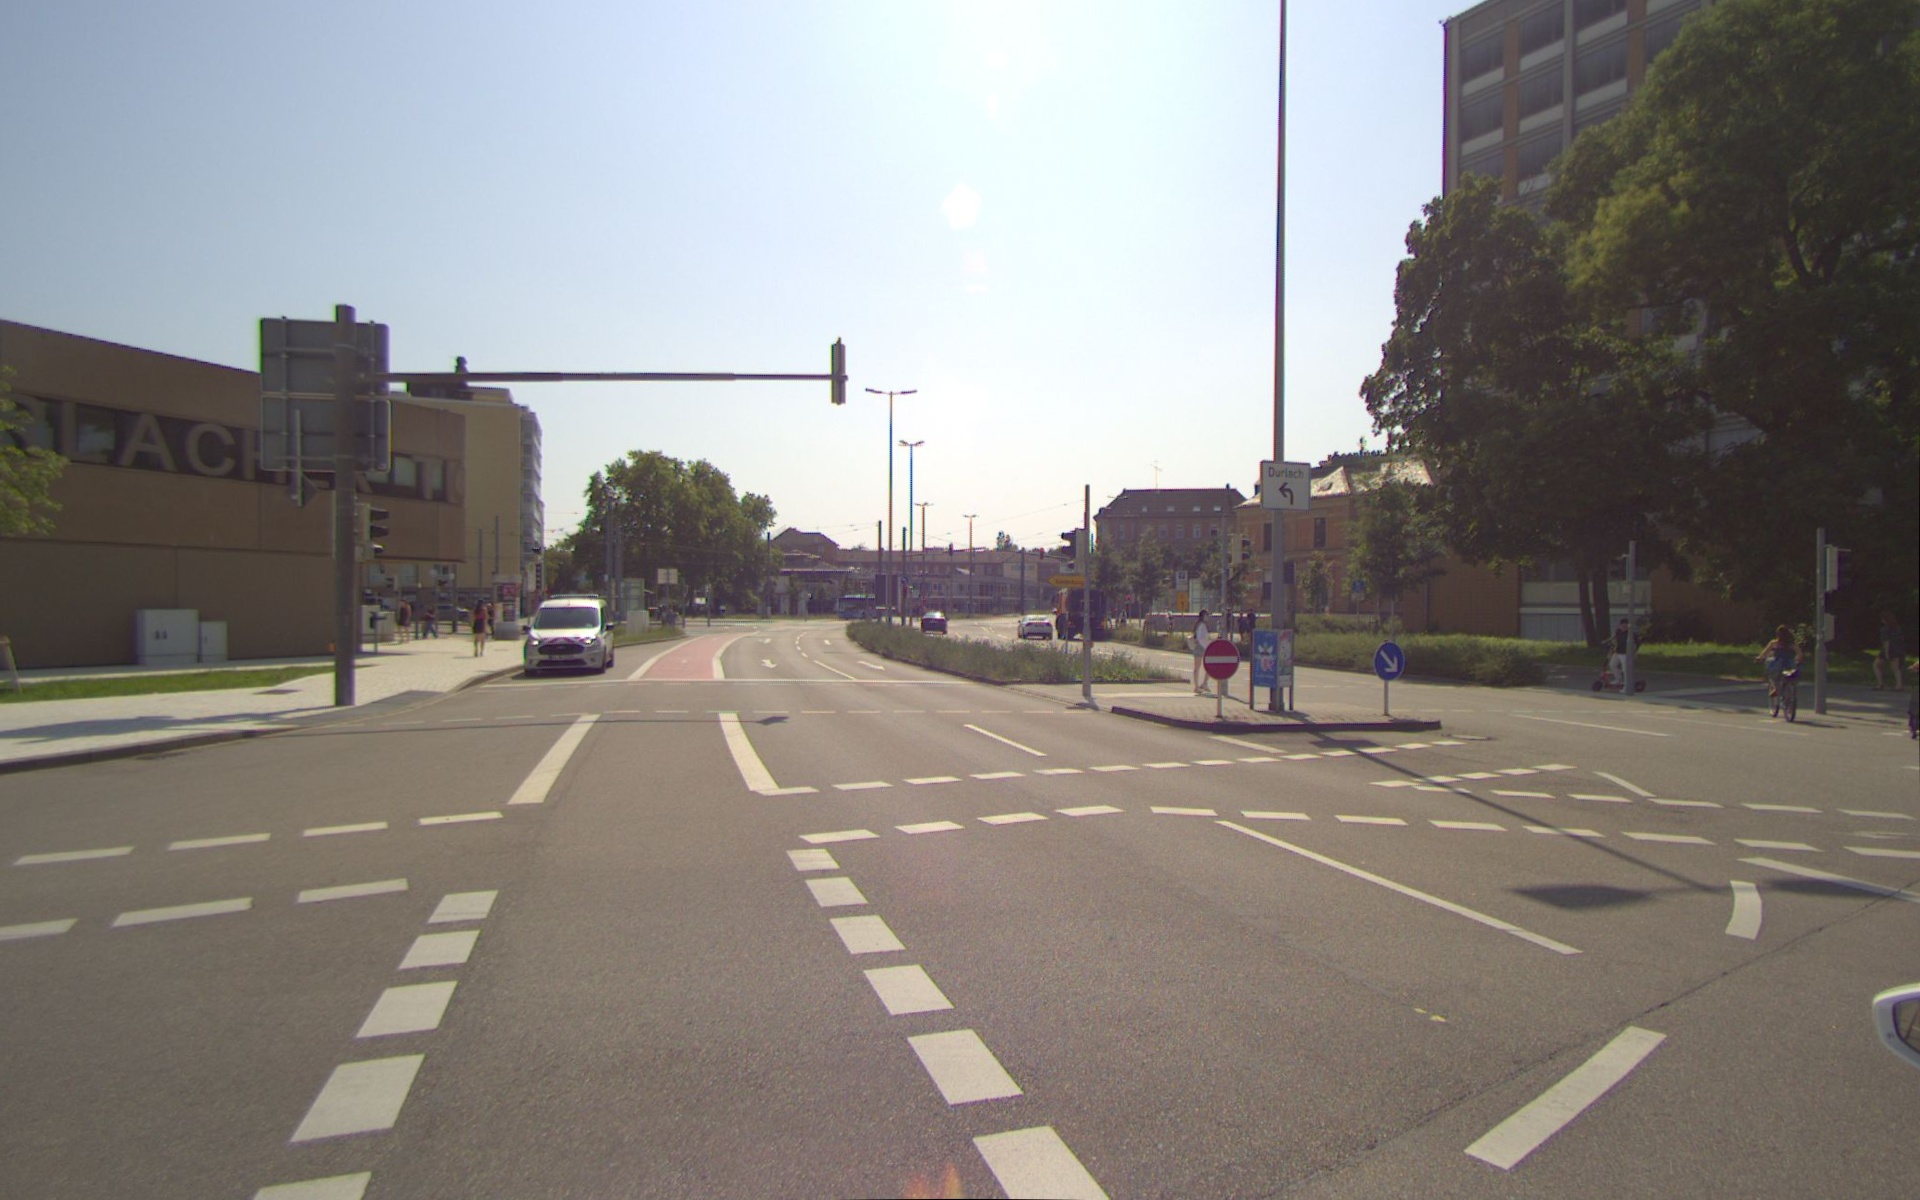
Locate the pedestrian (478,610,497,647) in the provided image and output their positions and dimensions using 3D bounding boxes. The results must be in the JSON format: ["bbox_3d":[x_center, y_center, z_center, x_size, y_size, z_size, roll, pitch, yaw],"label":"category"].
[{"bbox_3d":[-22.135,1.331,47.061,0.635,1.725,0.807,0,0,-12],"label":"pedestrian"}]

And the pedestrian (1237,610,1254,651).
[{"bbox_3d":[14.383,1.530,50.631,0.764,1.999,0.754,0,0,11],"label":"pedestrian"}]

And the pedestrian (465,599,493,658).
[{"bbox_3d":[-14.384,0.851,30.063,0.617,1.725,0.784,1,0,-16],"label":"pedestrian"}]

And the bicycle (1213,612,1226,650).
[{"bbox_3d":[13.086,1.567,50.654,0.447,1.885,1.364,0,0,9],"label":"bicycle"}]

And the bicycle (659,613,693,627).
[{"bbox_3d":[-20.950,1.473,74.144,2.380,0.966,0.601,0,0,-21],"label":"bicycle"}]

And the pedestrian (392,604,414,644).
[{"bbox_3d":[-21.826,0.940,39.361,0.482,1.558,0.572,0,0,23],"label":"pedestrian"}]

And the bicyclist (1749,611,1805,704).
[{"bbox_3d":[14.917,1.027,18.353,0.681,1.620,0.841,-1,0,33],"label":"bicyclist"}]

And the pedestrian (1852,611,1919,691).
[{"bbox_3d":[20.722,1.131,22.490,0.696,1.727,0.876,-1,0,-14],"label":"pedestrian"}]

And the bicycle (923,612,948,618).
[{"bbox_3d":[-2.981,1.816,122.427,2.901,0.737,0.860,0,0,-22],"label":"bicycle"}]

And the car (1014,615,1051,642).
[{"bbox_3d":[4.401,1.725,61.574,1.729,1.474,4.424,1,0,-2],"label":"car"}]

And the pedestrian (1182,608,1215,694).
[{"bbox_3d":[4.908,1.030,20.659,0.595,1.717,0.700,0,0,19],"label":"pedestrian"}]

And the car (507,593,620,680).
[{"bbox_3d":[-9.635,0.817,24.745,1.966,1.884,4.322,-2,0,-14],"label":"car"}]

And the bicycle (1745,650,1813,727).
[{"bbox_3d":[14.931,1.574,18.364,0.684,1.170,2.364,-1,0,33],"label":"bicycle"}]

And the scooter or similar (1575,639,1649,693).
[{"bbox_3d":[15.536,1.568,23.947,1.340,1.251,0.586,0,0,9],"label":"scooter or similar"}]

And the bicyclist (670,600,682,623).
[{"bbox_3d":[-20.968,0.857,74.132,0.829,1.664,0.604,0,0,-21],"label":"bicyclist"}]

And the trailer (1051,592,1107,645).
[{"bbox_3d":[7.328,1.087,62.459,2.423,3.047,6.324,2,0,-2],"label":"trailer"}]

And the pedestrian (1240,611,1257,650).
[{"bbox_3d":[14.811,1.556,51.505,0.764,1.999,0.754,0,0,11],"label":"pedestrian"}]

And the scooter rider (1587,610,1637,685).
[{"bbox_3d":[15.507,1.112,23.899,0.789,1.762,0.689,0,0,9],"label":"scooter rider"}]

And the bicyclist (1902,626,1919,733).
[{"bbox_3d":[14.120,1.148,14.554,0.541,1.516,0.801,0,-1,33],"label":"bicyclist"}]

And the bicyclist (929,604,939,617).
[{"bbox_3d":[-3.156,1.278,122.328,0.893,1.521,0.860,0,0,-22],"label":"bicyclist"}]

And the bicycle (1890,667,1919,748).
[{"bbox_3d":[14.191,1.561,14.661,0.548,1.074,1.999,1,0,33],"label":"bicycle"}]

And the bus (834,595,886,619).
[{"bbox_3d":[-12.961,0.942,131.348,3.001,2.970,11.859,1,0,13],"label":"bus"}]

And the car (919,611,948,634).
[{"bbox_3d":[-1.733,1.441,66.559,1.728,1.423,3.981,1,0,1],"label":"car"}]
